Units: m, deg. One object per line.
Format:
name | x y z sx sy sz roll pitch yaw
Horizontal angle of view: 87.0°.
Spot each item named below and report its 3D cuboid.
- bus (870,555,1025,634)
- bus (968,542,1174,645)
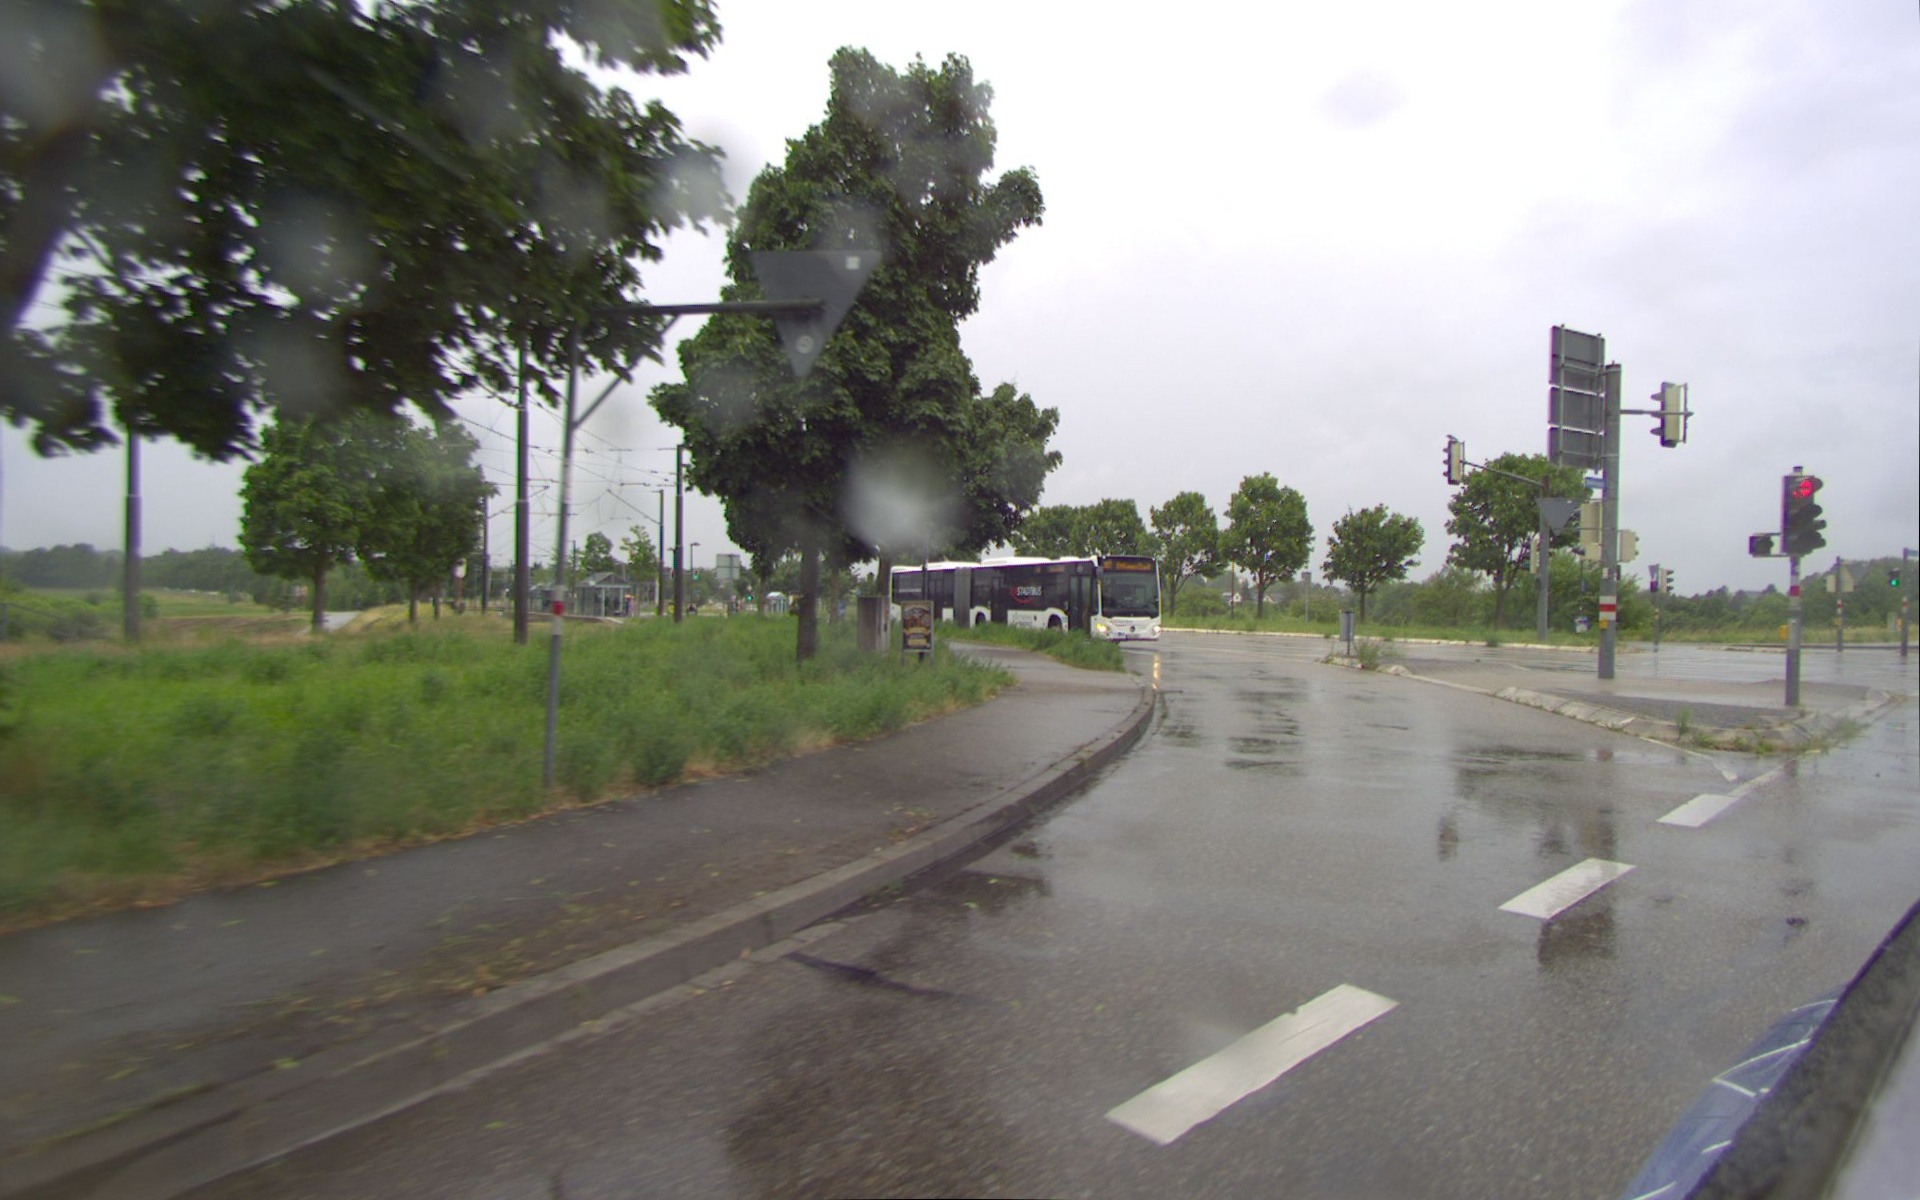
bus | -0.841 -0.216 44.865 2.624 3.116 10.007 0 0 -28
bus | 3.511 -0.202 35.728 2.623 3.116 10.012 0 0 -23
